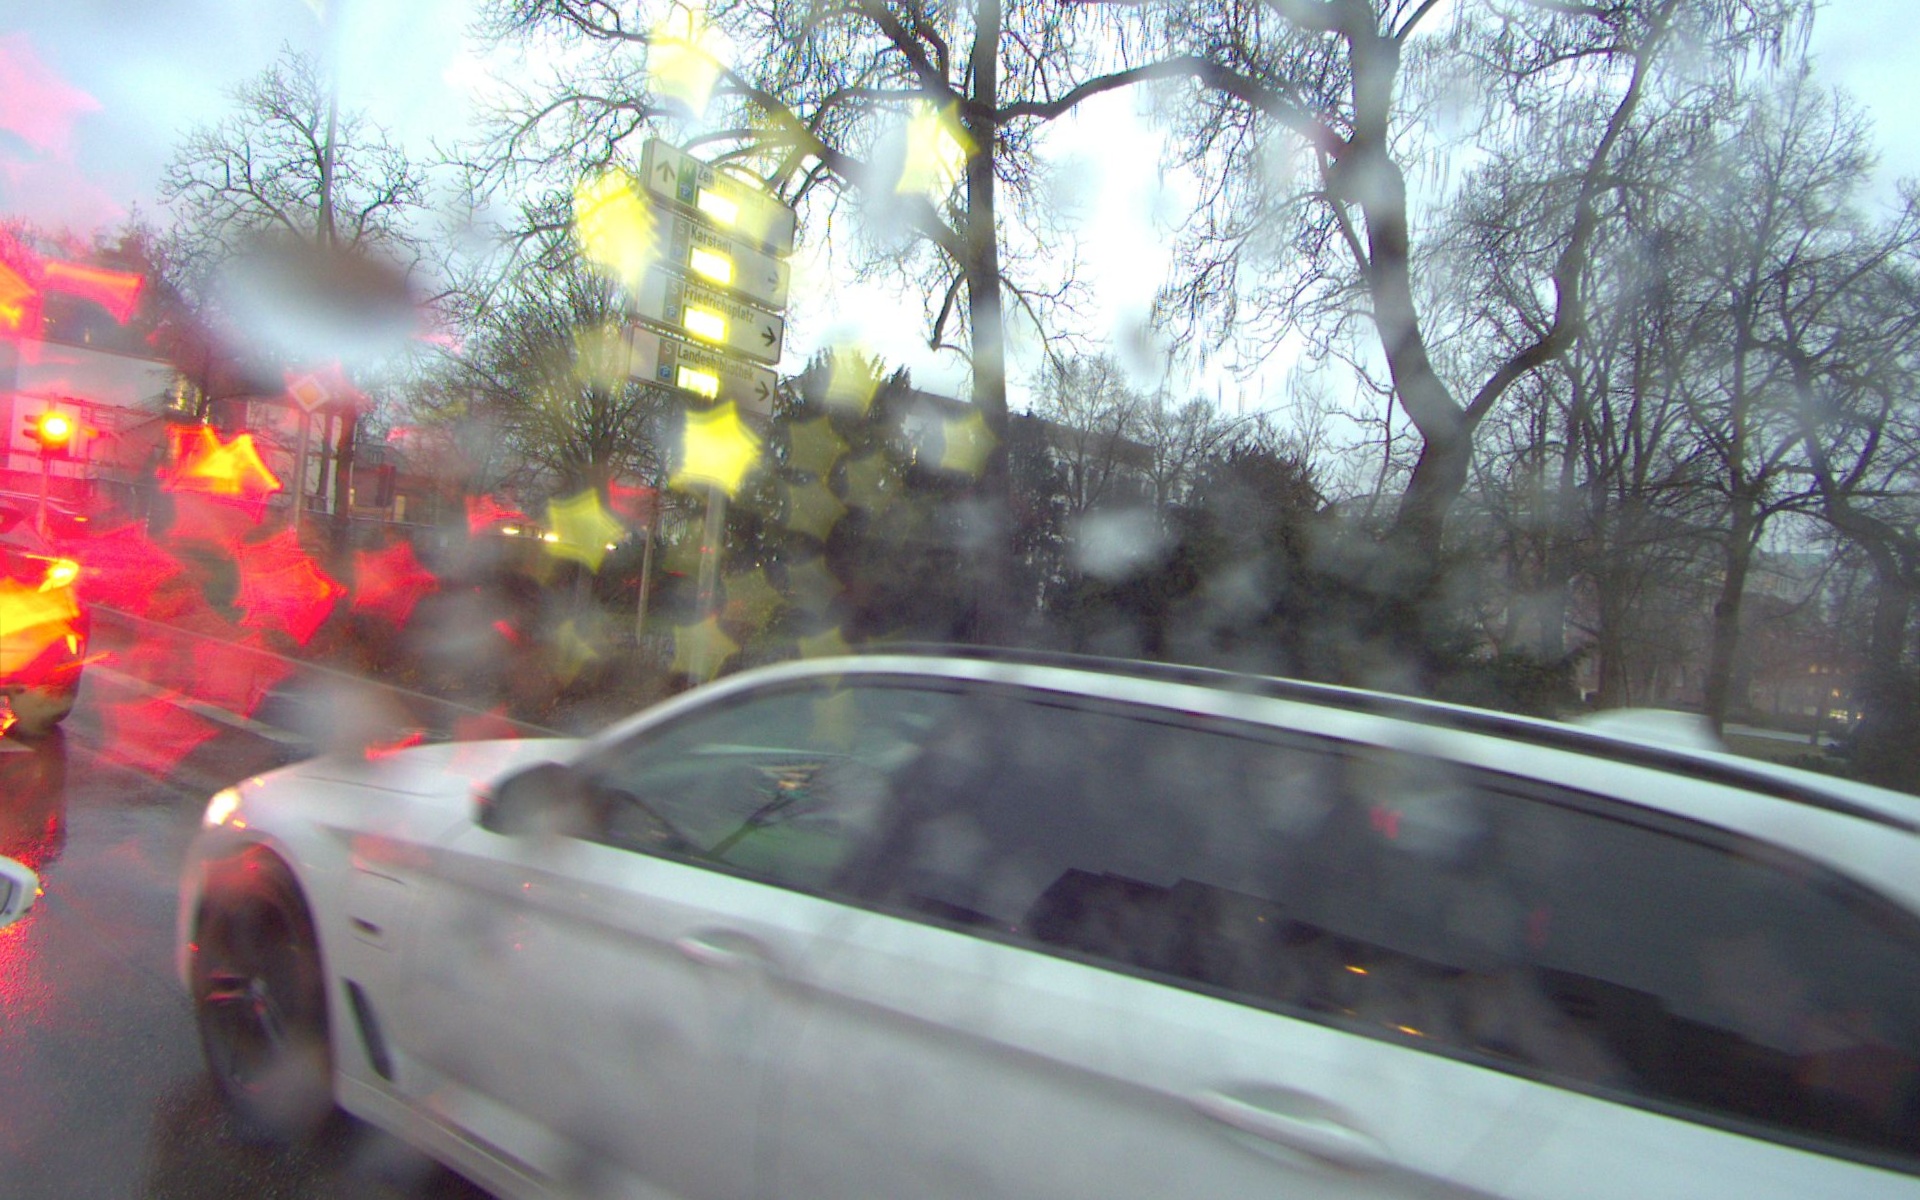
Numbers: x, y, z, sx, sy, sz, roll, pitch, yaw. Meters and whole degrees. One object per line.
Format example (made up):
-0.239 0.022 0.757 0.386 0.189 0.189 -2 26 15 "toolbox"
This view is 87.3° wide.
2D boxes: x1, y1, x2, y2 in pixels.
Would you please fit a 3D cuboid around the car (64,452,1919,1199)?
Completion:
0.082 0.685 2.446 4.854 1.575 1.865 7 0 30 "car"

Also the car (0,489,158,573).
-28.196 -2.187 31.759 4.259 1.965 1.977 10 -3 -42 "car"

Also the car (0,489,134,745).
-7.486 -0.102 6.745 3.831 1.529 1.802 7 0 32 "car"
